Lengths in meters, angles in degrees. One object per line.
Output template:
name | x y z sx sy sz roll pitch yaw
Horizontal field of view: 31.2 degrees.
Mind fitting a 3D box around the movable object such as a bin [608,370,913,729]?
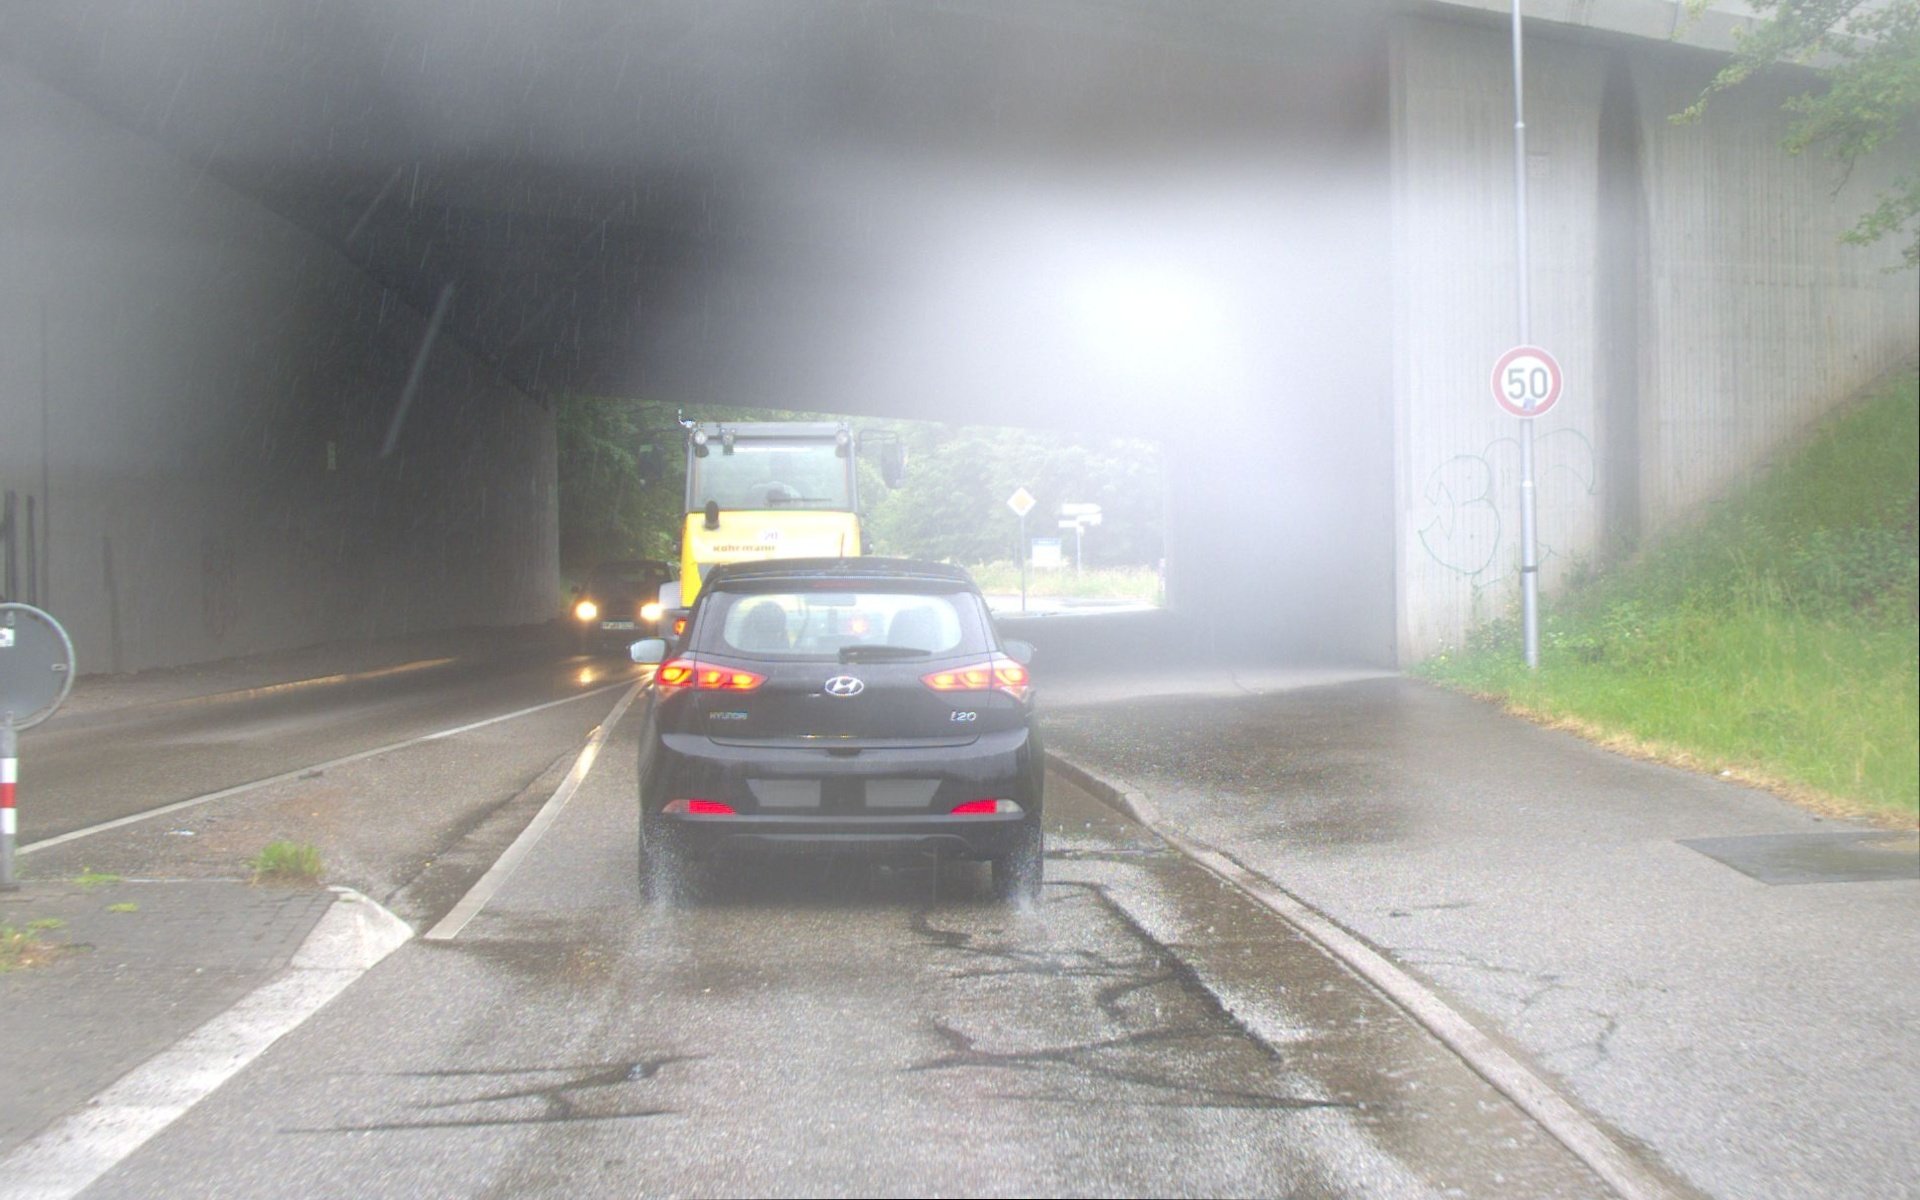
movable object such as a bin | -1.641 -0.415 29.270 2.245 2.660 6.627 1 1 -2

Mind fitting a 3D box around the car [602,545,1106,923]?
car | -0.506 0.519 15.816 1.993 1.482 4.000 1 1 -2

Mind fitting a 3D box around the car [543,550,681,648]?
car | -5.459 -0.037 54.295 1.690 1.482 4.073 0 1 1
